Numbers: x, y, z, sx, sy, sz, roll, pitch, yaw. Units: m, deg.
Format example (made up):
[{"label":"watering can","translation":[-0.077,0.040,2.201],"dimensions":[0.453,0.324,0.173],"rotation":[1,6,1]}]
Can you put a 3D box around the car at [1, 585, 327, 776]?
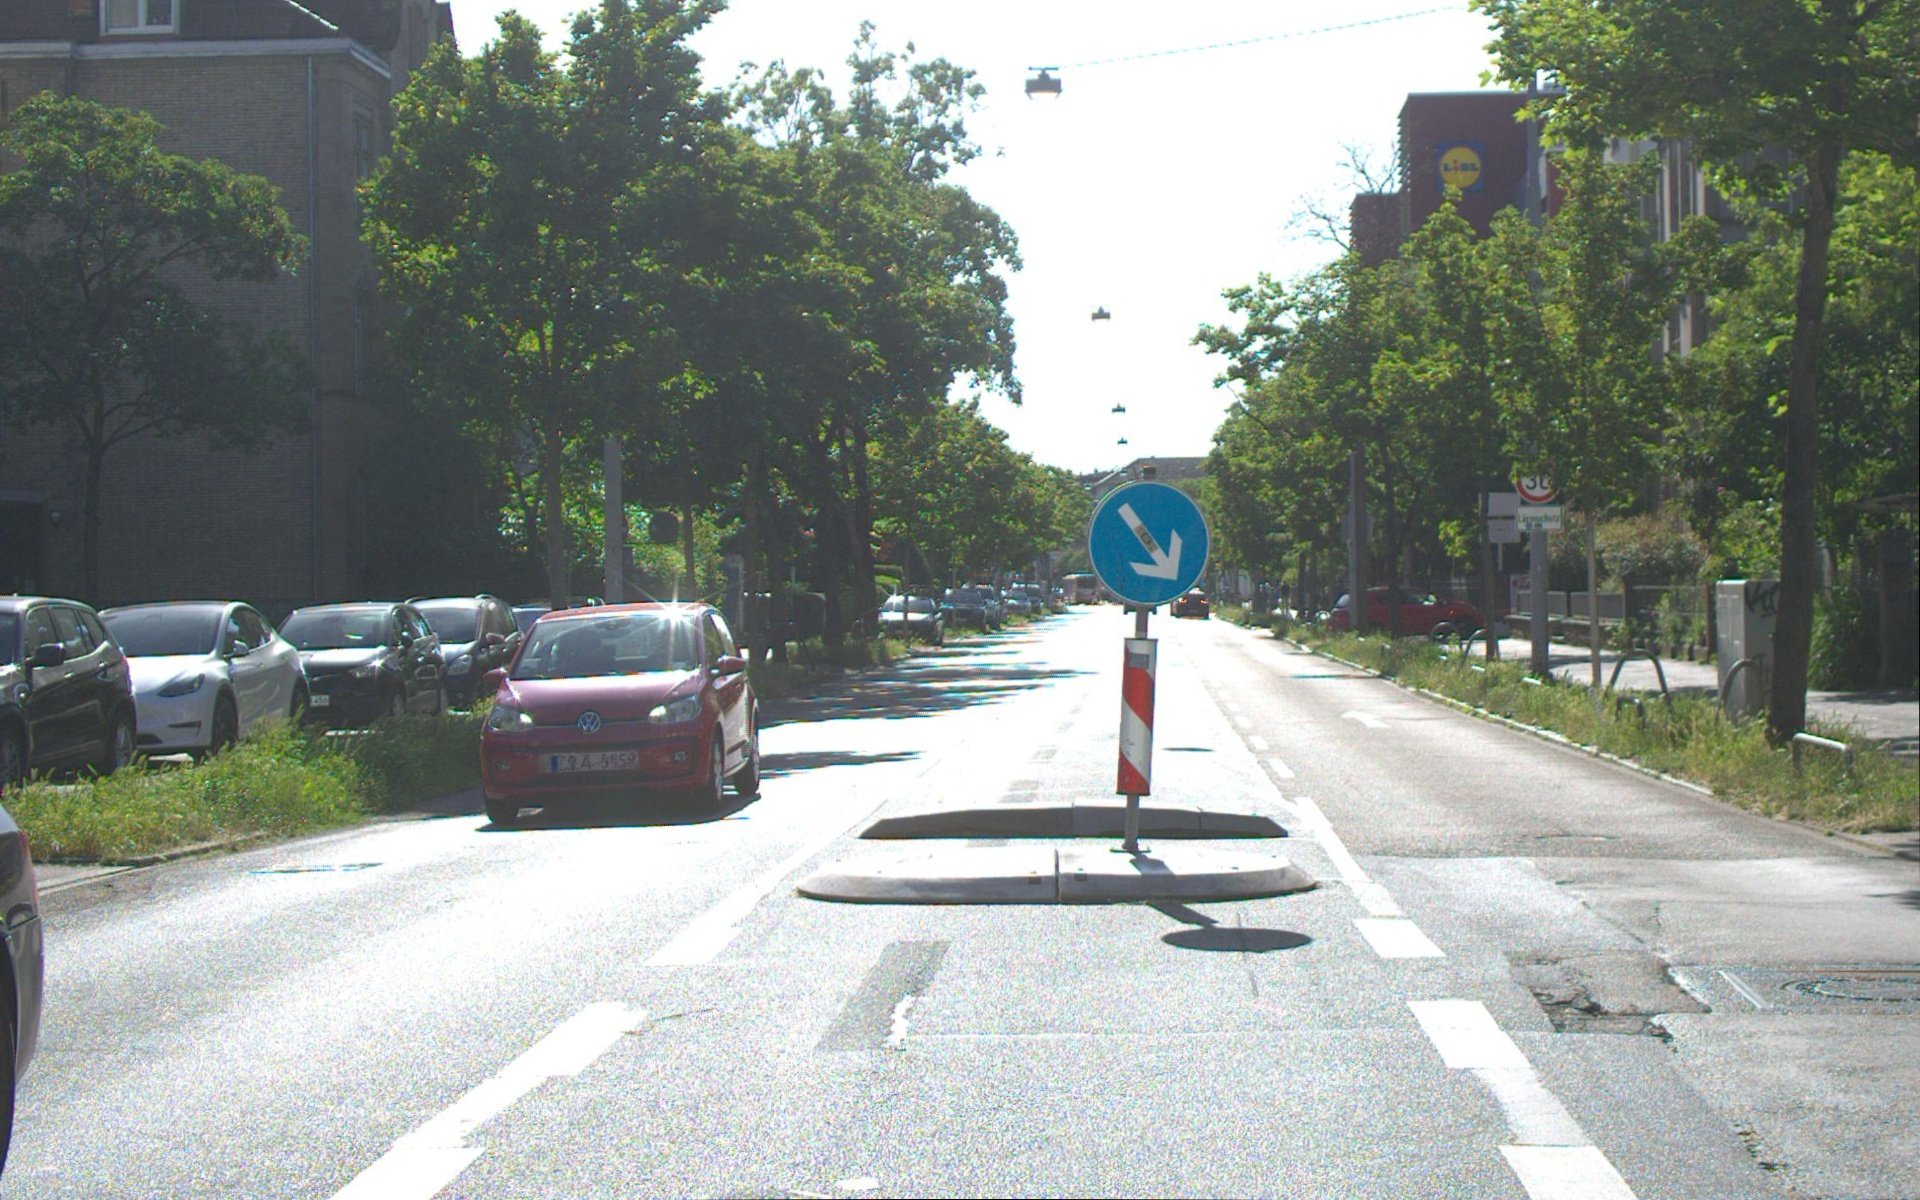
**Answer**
[{"label":"car","translation":[-7.718,0.733,33.794],"dimensions":[1.888,1.656,4.530],"rotation":[-3,0,3]}]

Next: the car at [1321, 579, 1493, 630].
[{"label":"car","translation":[11.381,0.107,87.543],"dimensions":[3.986,1.219,1.804],"rotation":[-1,0,-24]}]

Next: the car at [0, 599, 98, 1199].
[{"label":"car","translation":[-3.308,0.760,6.576],"dimensions":[1.866,1.453,4.592],"rotation":[-1,0,4]}]

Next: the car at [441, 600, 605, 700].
[{"label":"car","translation":[-6.537,0.720,51.761],"dimensions":[1.755,1.393,4.000],"rotation":[-1,0,3]}]

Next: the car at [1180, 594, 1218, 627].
[{"label":"car","translation":[12.856,0.549,184.827],"dimensions":[1.951,1.702,3.999],"rotation":[-1,0,4]}]

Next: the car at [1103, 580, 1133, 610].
[{"label":"car","translation":[9.883,-0.329,215.286],"dimensions":[1.758,1.777,3.999],"rotation":[-1,0,4]}]

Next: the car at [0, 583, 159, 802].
[{"label":"car","translation":[-7.984,0.707,27.347],"dimensions":[1.868,1.622,4.504],"rotation":[-2,0,4]}]

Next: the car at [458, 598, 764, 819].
[{"label":"car","translation":[-2.419,0.721,24.602],"dimensions":[1.651,1.423,3.507],"rotation":[-1,0,3]}]

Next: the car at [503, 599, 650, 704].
[{"label":"car","translation":[-6.310,0.820,56.932],"dimensions":[1.763,1.640,4.000],"rotation":[-1,0,3]}]

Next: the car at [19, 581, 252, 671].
[{"label":"car","translation":[-15.570,0.488,65.076],"dimensions":[3.987,1.624,1.687],"rotation":[-1,0,0]}]

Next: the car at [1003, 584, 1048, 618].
[{"label":"car","translation":[3.374,0.021,177.700],"dimensions":[1.994,1.690,3.999],"rotation":[-1,0,5]}]

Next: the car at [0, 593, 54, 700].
[{"label":"car","translation":[-16.181,0.730,52.978],"dimensions":[3.987,1.624,1.687],"rotation":[-1,0,0]}]

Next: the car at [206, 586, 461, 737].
[{"label":"car","translation":[-7.232,0.676,40.078],"dimensions":[1.863,1.582,3.999],"rotation":[-2,0,5]}]

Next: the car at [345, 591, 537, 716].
[{"label":"car","translation":[-6.906,0.681,46.125],"dimensions":[1.751,1.548,4.000],"rotation":[-1,0,3]}]

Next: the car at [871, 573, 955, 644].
[{"label":"car","translation":[-1.354,0.237,101.390],"dimensions":[1.994,2.007,4.204],"rotation":[-1,0,5]}]

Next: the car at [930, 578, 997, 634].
[{"label":"car","translation":[0.143,0.192,128.443],"dimensions":[2.061,2.007,4.628],"rotation":[-1,0,5]}]
